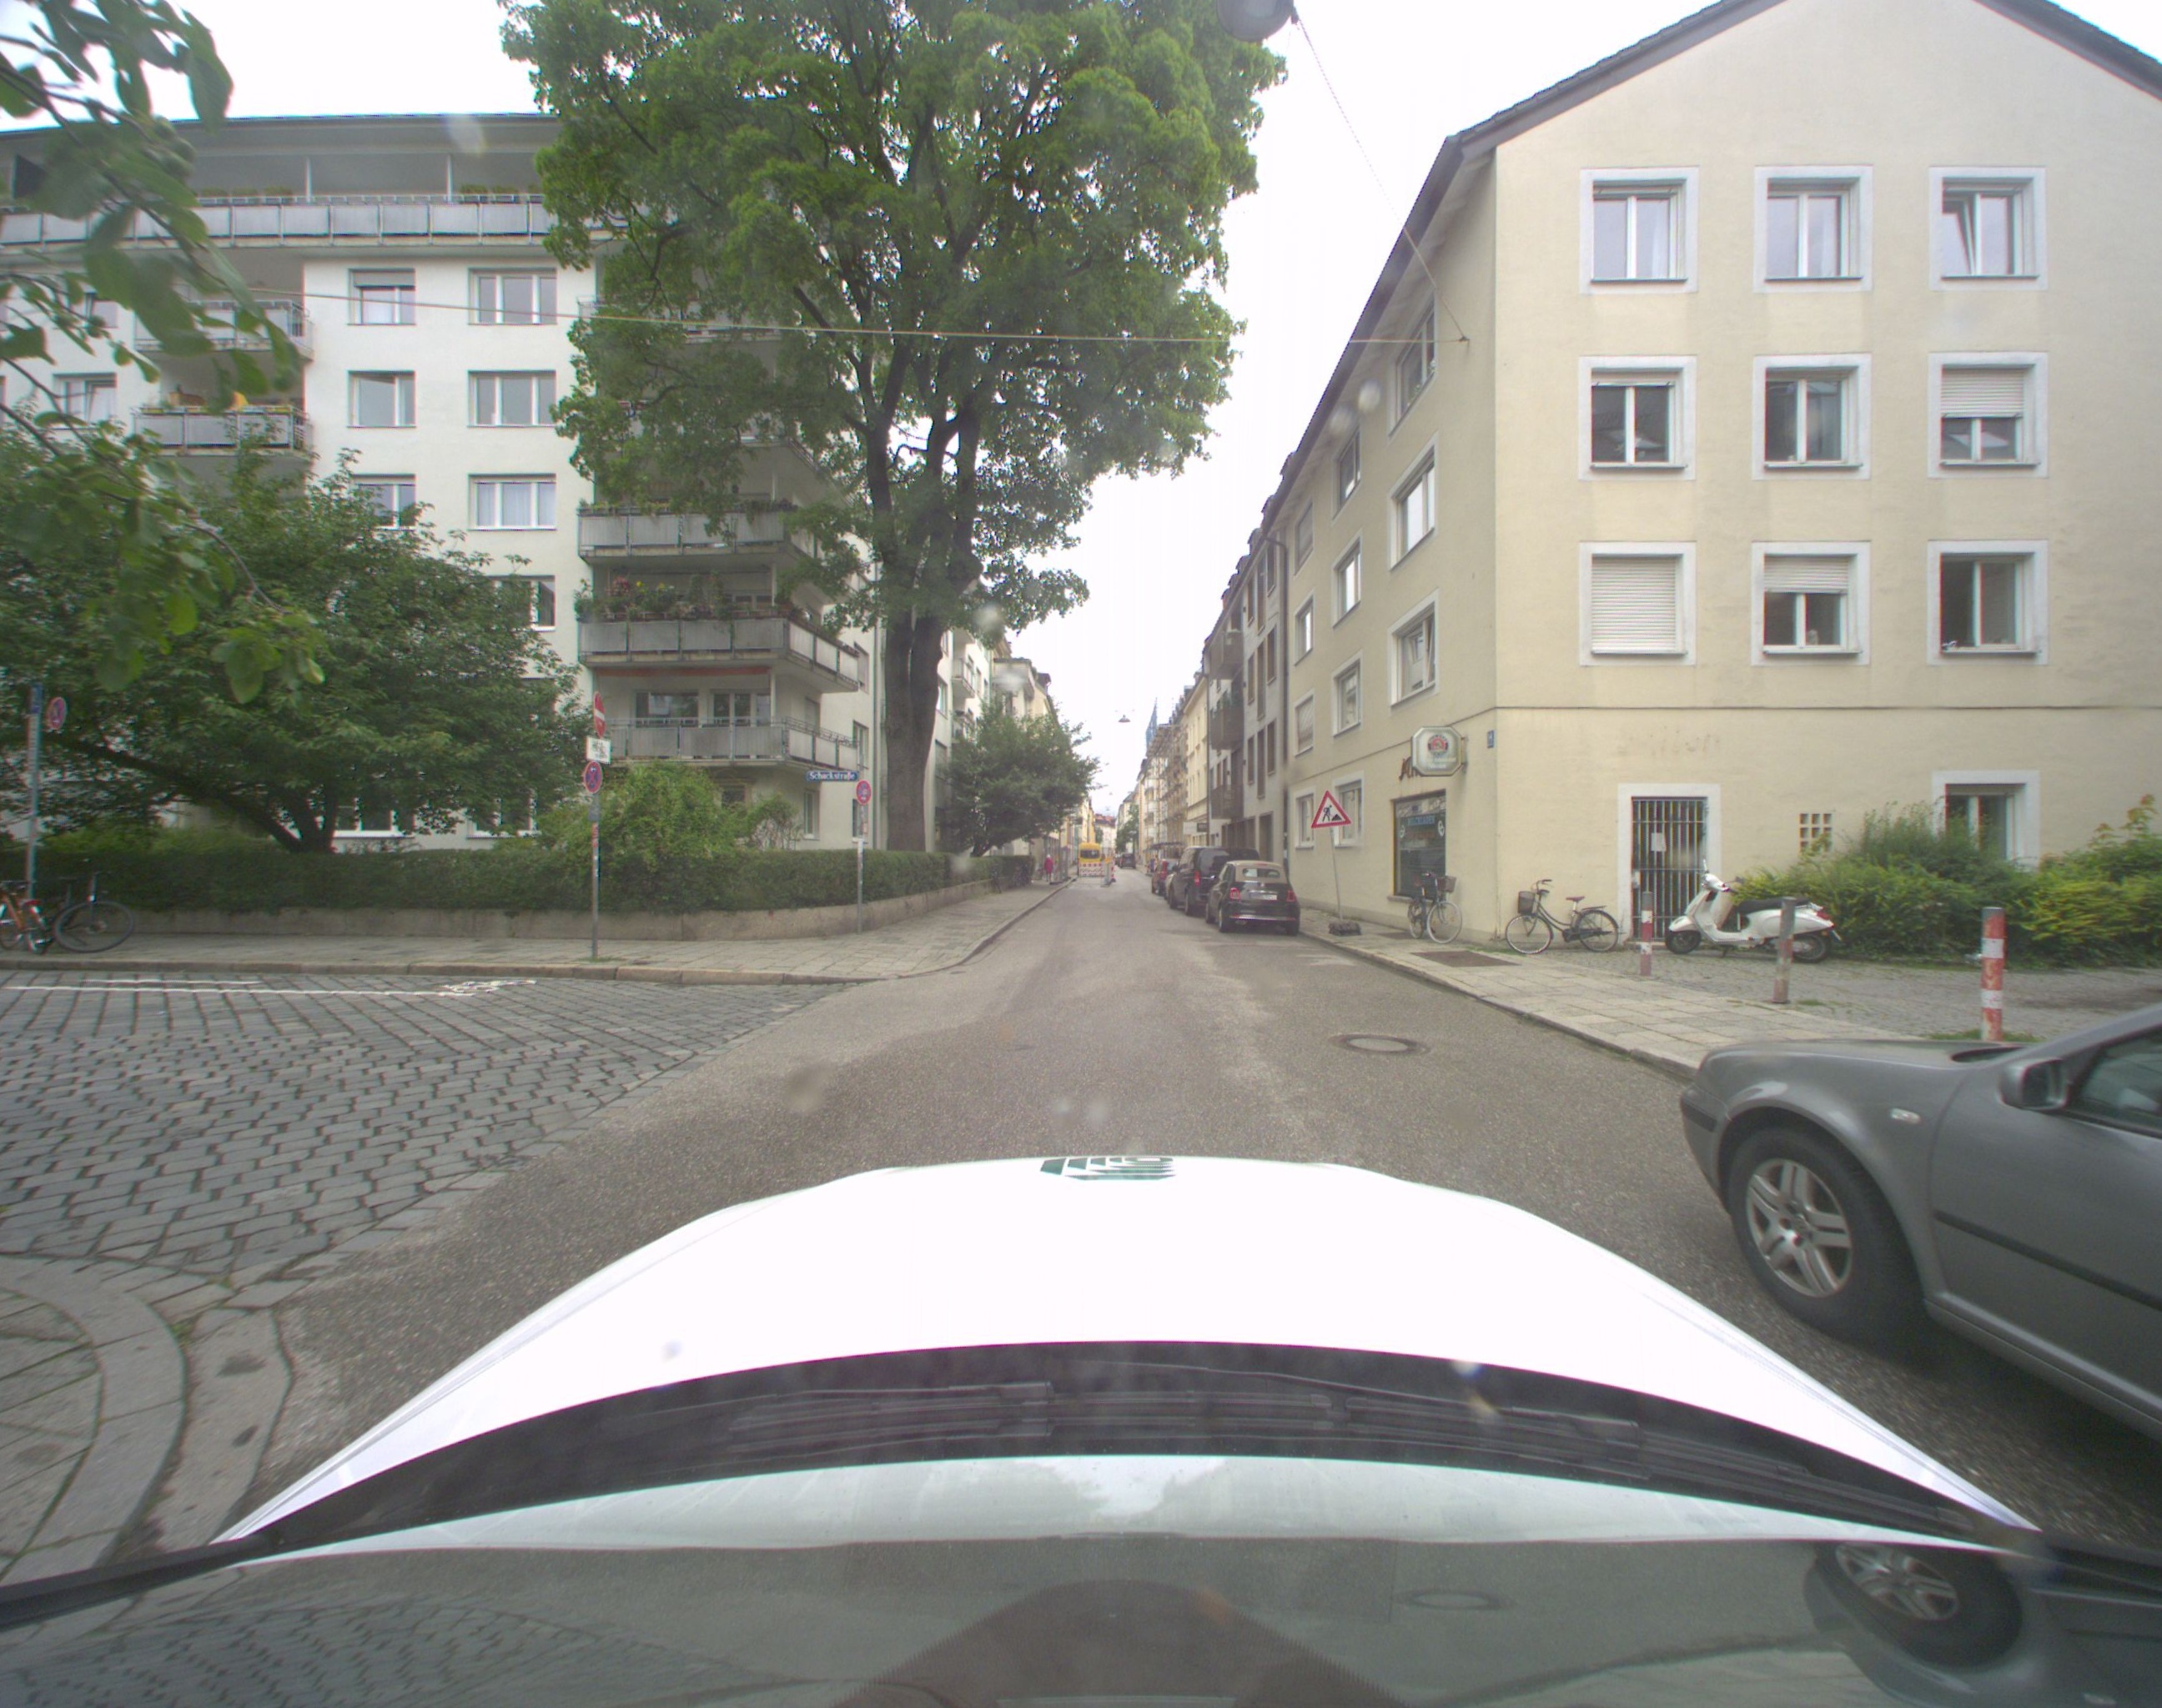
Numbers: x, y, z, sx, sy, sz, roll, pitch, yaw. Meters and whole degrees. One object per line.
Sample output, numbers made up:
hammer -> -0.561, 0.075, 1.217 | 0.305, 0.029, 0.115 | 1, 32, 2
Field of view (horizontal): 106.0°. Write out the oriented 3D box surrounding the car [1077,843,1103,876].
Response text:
car -> 0.773, 0.435, 68.695 | 1.986, 2.579, 6.737 | -1, 0, 1

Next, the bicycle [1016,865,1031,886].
bicycle -> -2.733, 1.018, 38.898 | 0.434, 0.978, 1.700 | 3, -1, 3

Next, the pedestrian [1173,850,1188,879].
pedestrian -> 6.152, 0.636, 50.517 | 0.727, 1.752, 0.988 | -4, 0, 1

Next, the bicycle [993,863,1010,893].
bicycle -> -3.026, 0.897, 30.978 | 0.345, 1.072, 1.781 | 3, 0, 2

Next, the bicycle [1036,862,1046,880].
bicycle -> -2.444, 1.048, 50.266 | 0.375, 1.063, 1.598 | 6, 0, 2

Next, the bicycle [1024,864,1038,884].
bicycle -> -2.588, 1.047, 42.324 | 0.442, 0.978, 1.817 | 3, -1, 3

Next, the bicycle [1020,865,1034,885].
bicycle -> -2.667, 1.030, 40.459 | 0.442, 0.978, 1.855 | 3, -1, 3

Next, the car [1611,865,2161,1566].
car -> 3.112, 0.774, 1.284 | 1.715, 1.435, 4.358 | 1, 0, 0

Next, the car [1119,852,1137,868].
car -> 5.742, 0.760, 100.686 | 1.987, 1.932, 4.660 | 1, 0, 1

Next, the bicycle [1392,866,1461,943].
bicycle -> 5.904, 0.838, 14.020 | 0.408, 1.214, 1.819 | -2, -2, 2

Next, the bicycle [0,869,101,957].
bicycle -> -13.696, 0.761, 10.778 | 1.759, 1.072, 0.349 | 1, 0, 21

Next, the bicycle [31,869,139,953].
bicycle -> -13.621, 0.755, 11.129 | 1.759, 1.072, 0.349 | 1, -1, 21

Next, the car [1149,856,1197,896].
car -> 3.834, 0.881, 34.440 | 1.764, 1.524, 4.070 | 2, 0, 3

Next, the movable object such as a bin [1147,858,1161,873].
movable object such as a bin -> 7.021, 1.057, 78.218 | 1.078, 1.346, 1.322 | -3, 0, 14

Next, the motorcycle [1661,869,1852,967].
motorcycle -> 8.866, 0.787, 10.772 | 0.624, 1.121, 1.853 | -1, 1, -37

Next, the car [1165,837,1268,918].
car -> 3.665, 0.600, 22.985 | 1.984, 1.977, 4.883 | 2, 0, -1

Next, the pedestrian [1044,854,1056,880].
pedestrian -> -1.851, 0.784, 48.449 | 0.635, 1.532, 0.748 | 1, 0, 3

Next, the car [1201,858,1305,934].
car -> 3.680, 0.845, 17.986 | 1.628, 1.471, 3.539 | 2, 0, 2

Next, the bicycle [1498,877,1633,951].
bicycle -> 7.078, 0.872, 11.926 | 1.695, 1.027, 0.411 | -1, -2, 1

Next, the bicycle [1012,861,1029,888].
bicycle -> -2.684, 0.899, 36.432 | 0.486, 1.151, 1.700 | 3, -1, 3

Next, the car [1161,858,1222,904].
car -> 3.845, 0.901, 28.878 | 1.761, 1.461, 4.383 | 2, 0, 3
